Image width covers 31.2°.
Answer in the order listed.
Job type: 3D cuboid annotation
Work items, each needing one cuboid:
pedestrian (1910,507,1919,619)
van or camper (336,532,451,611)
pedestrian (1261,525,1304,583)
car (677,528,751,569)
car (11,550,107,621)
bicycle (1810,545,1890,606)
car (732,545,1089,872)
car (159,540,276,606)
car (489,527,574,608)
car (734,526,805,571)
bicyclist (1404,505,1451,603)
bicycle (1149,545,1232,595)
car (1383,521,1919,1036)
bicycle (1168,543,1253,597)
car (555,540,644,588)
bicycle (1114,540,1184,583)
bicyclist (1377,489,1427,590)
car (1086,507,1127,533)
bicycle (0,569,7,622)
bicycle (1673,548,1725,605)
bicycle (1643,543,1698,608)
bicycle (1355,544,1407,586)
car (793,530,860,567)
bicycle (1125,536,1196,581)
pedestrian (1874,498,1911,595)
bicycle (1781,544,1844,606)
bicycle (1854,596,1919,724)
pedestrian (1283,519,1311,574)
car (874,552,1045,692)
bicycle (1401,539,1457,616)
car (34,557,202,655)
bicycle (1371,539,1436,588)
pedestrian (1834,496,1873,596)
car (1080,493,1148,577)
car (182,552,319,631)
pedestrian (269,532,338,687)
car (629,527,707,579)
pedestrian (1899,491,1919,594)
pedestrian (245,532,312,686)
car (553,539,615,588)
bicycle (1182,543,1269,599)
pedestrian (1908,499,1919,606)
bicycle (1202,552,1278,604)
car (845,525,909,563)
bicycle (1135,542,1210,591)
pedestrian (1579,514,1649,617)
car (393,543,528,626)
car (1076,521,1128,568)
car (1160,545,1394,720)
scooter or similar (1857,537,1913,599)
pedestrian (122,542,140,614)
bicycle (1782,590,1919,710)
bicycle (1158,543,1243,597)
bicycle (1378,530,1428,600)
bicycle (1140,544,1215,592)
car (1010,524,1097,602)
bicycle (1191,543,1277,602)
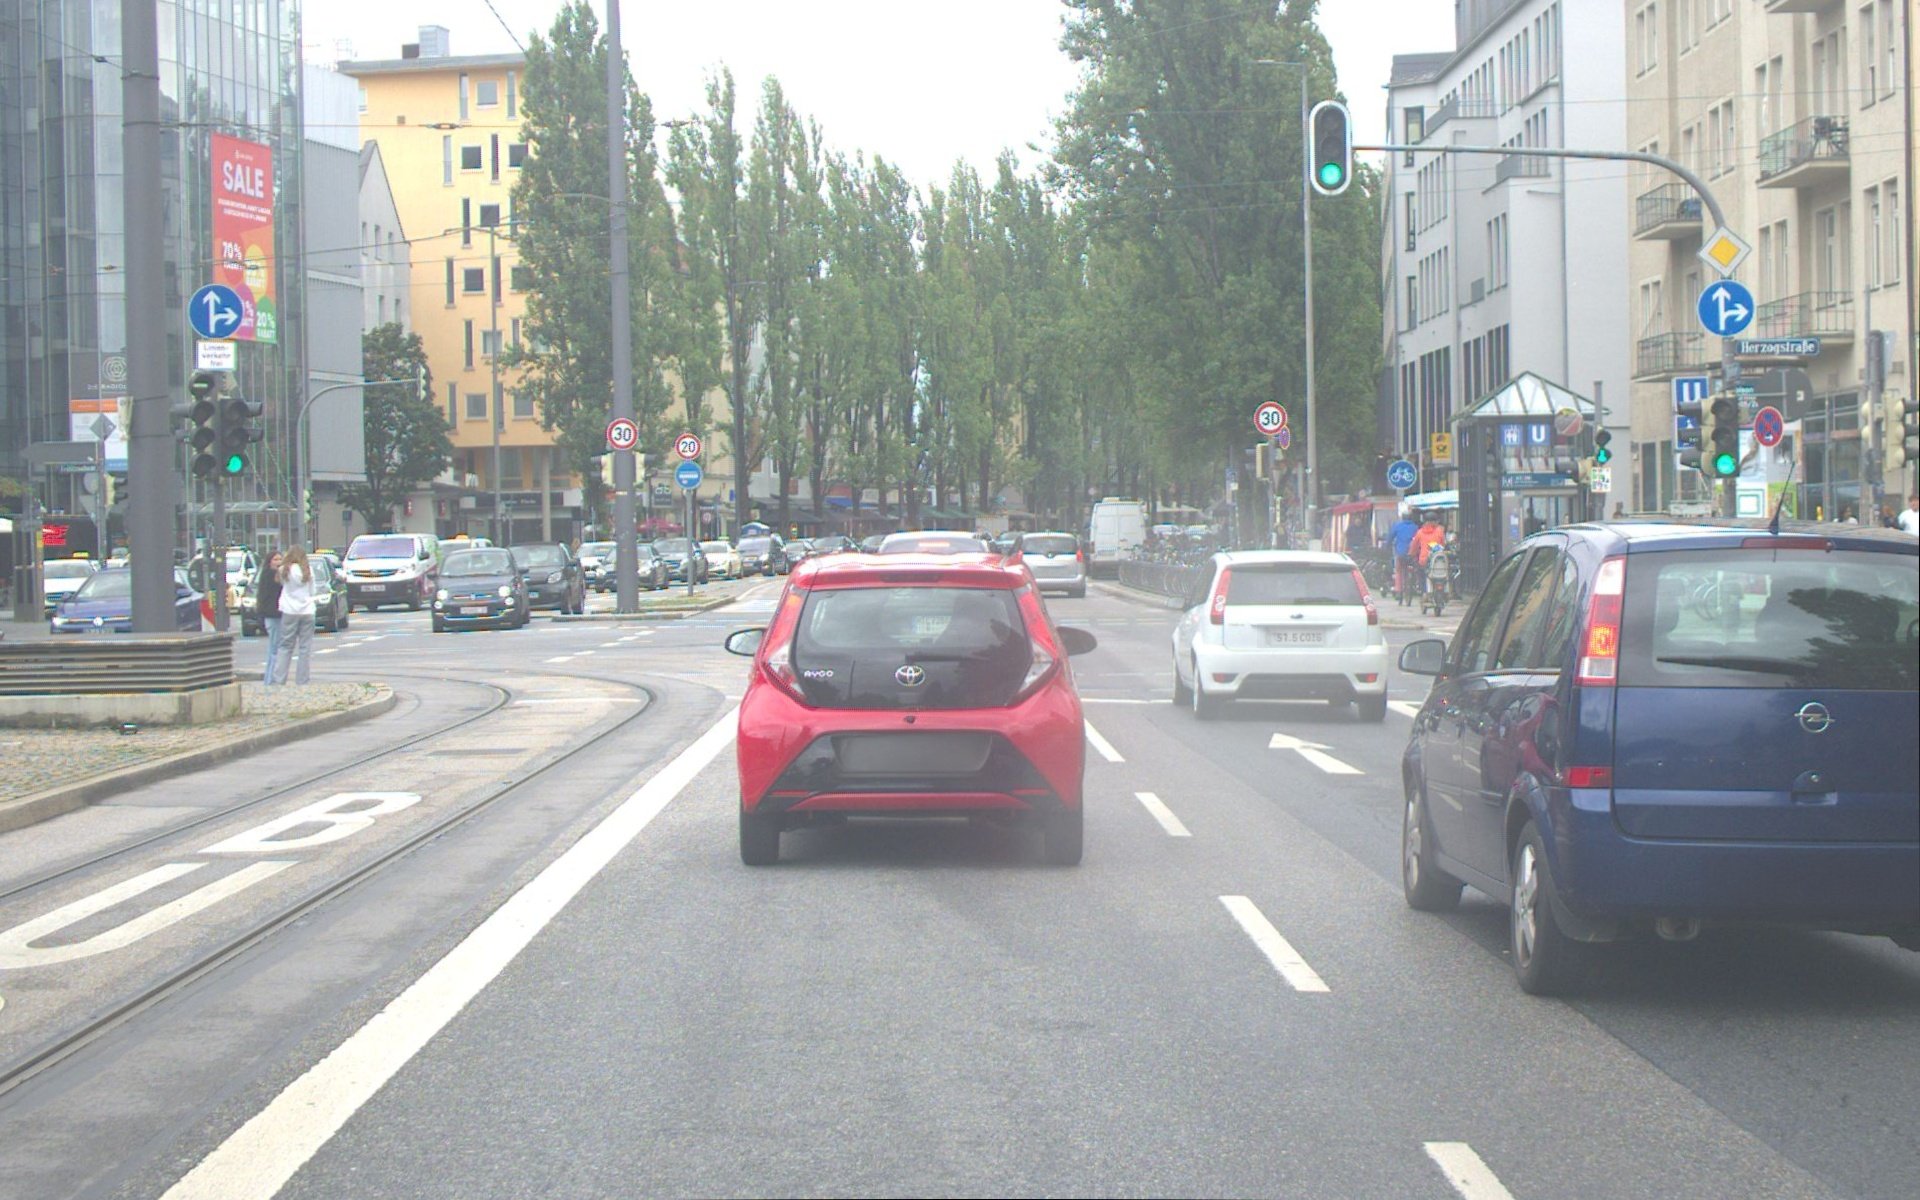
[{"bbox_3d":[15.580,-0.598,54.375,0.934,1.749,1.065,-1,1,9],"label":"pedestrian"},{"bbox_3d":[-13.844,-0.725,84.242,1.928,1.819,5.441,-1,1,-1],"label":"van or camper"},{"bbox_3d":[8.687,-1.235,92.503,0.799,1.517,0.809,0,1,43],"label":"pedestrian"},{"bbox_3d":[-9.017,-1.912,126.221,1.766,1.417,4.638,-2,1,8],"label":"car"},{"bbox_3d":[-21.397,-0.375,81.771,1.993,1.530,4.416,-2,2,-12],"label":"car"},{"bbox_3d":[15.819,-0.444,61.134,0.494,1.055,1.867,-1,1,-15],"label":"bicycle"},{"bbox_3d":[-0.202,0.464,17.040,1.605,1.456,3.130,0,1,1],"label":"car"},{"bbox_3d":[-18.490,-0.695,85.793,1.901,1.537,4.393,-1,1,1],"label":"car"},{"bbox_3d":[-8.496,-0.651,67.974,1.503,1.529,2.838,-1,1,-10],"label":"car"},{"bbox_3d":[-7.528,-2.061,136.417,1.937,1.733,4.587,0,1,8],"label":"car"},{"bbox_3d":[8.024,-0.792,59.054,0.614,1.652,1.251,-1,1,1],"label":"bicyclist"},{"bbox_3d":[5.247,-0.683,78.237,1.803,1.107,0.651,0,2,37],"label":"bicycle"},{"bbox_3d":[2.653,0.539,12.650,1.703,1.584,3.556,2,1,0],"label":"car"},{"bbox_3d":[5.442,-0.644,74.797,1.802,1.154,0.486,0,1,30],"label":"bicycle"},{"bbox_3d":[-11.124,-1.127,106.335,1.994,1.407,4.167,-1,1,4],"label":"car"},{"bbox_3d":[5.041,-1.028,91.678,1.836,1.132,0.585,0,2,36],"label":"bicycle"},{"bbox_3d":[8.333,-1.148,64.876,0.762,1.863,1.133,-1,1,1],"label":"bicyclist"},{"bbox_3d":[9.916,-5.389,232.299,1.994,1.686,4.411,-1,1,13],"label":"car"},{"bbox_3d":[-21.053,-0.096,72.918,1.574,1.108,0.373,-1,1,4],"label":"bicycle"},{"bbox_3d":[13.086,-0.428,60.892,0.494,0.971,1.866,-1,1,0],"label":"bicycle"},{"bbox_3d":[12.585,-0.438,60.913,0.566,1.104,1.866,-1,1,0],"label":"bicycle"},{"bbox_3d":[10.086,-0.844,82.360,1.181,0.960,0.369,-1,1,-1],"label":"bicycle"},{"bbox_3d":[-5.855,-2.284,150.867,1.994,1.529,4.586,-1,1,10],"label":"car"},{"bbox_3d":[5.136,-1.063,87.987,1.836,1.132,0.585,0,2,43],"label":"bicycle"},{"bbox_3d":[15.816,-0.904,58.316,0.561,1.604,0.567,-1,4,13],"label":"pedestrian"},{"bbox_3d":[15.084,-0.448,60.879,0.494,1.055,1.867,-1,1,-5],"label":"bicycle"},{"bbox_3d":[7.875,0.464,26.716,1.841,0.992,0.347,-1,1,45],"label":"bicycle"},{"bbox_3d":[10.740,-1.704,109.490,0.790,1.722,0.764,-1,1,0],"label":"pedestrian"},{"bbox_3d":[-0.025,0.230,42.297,1.993,1.612,4.000,-1,1,-1],"label":"car"},{"bbox_3d":[8.046,-0.394,59.006,0.614,1.260,2.520,-1,1,1],"label":"bicycle"},{"bbox_3d":[-13.065,0.060,53.547,1.677,1.391,4.233,-2,1,-2],"label":"car"},{"bbox_3d":[10.162,-0.834,78.832,1.418,1.073,0.369,-1,1,1],"label":"bicycle"},{"bbox_3d":[15.128,-0.913,58.203,0.566,1.665,0.562,0,5,22],"label":"pedestrian"},{"bbox_3d":[5.184,-2.197,116.221,2.107,2.709,4.804,-1,1,1],"label":"car"},{"bbox_3d":[-13.522,-0.180,65.698,1.843,1.412,4.035,-1,1,-1],"label":"car"},{"bbox_3d":[-6.921,0.095,36.252,0.521,1.613,0.463,0,1,44],"label":"pedestrian"},{"bbox_3d":[-9.908,-1.603,116.922,1.743,1.664,4.731,-1,1,6],"label":"car"},{"bbox_3d":[16.375,-0.977,58.072,0.644,1.699,0.733,-4,5,-29],"label":"pedestrian"},{"bbox_3d":[-7.237,0.086,36.507,0.486,1.613,0.558,-2,1,-34],"label":"pedestrian"},{"bbox_3d":[-12.955,-1.271,118.518,1.698,1.590,4.000,-1,1,-1],"label":"car"},{"bbox_3d":[5.563,-0.606,71.988,1.803,1.154,0.547,0,2,38],"label":"bicycle"},{"bbox_3d":[16.139,-0.798,57.128,0.649,1.745,0.636,0,5,22],"label":"pedestrian"},{"bbox_3d":[5.627,-0.448,69.081,0.498,1.025,1.601,-2,2,-42],"label":"bicycle"},{"bbox_3d":[-3.857,-2.624,160.965,1.994,1.686,4.919,-1,1,10],"label":"car"},{"bbox_3d":[5.128,-0.814,83.069,1.836,1.164,0.585,0,2,43],"label":"bicycle"},{"bbox_3d":[10.865,-0.572,57.123,0.836,1.685,0.818,0,1,37],"label":"pedestrian"},{"bbox_3d":[-9.148,-0.297,62.828,1.545,1.440,3.540,-2,1,-23],"label":"car"},{"bbox_3d":[5.050,-1.989,122.447,1.703,1.657,3.556,-1,1,0],"label":"car"},{"bbox_3d":[2.760,0.245,30.568,1.699,1.421,3.497,-1,1,-1],"label":"car"},{"bbox_3d":[15.442,-0.535,57.379,0.821,0.991,0.593,0,5,22],"label":"scooter or similar"},{"bbox_3d":[-20.282,-0.543,84.122,0.354,1.753,0.447,-1,1,-11],"label":"pedestrian"},{"bbox_3d":[7.820,0.419,28.872,1.841,0.992,0.347,-1,1,45],"label":"bicycle"},{"bbox_3d":[5.330,-0.663,76.175,1.803,1.154,0.651,0,2,36],"label":"bicycle"},{"bbox_3d":[8.330,-0.672,64.722,0.614,1.260,2.520,-1,1,1],"label":"bicycle"},{"bbox_3d":[5.169,-0.756,81.741,1.803,1.107,0.585,0,2,43],"label":"bicycle"},{"bbox_3d":[2.274,-0.932,84.574,1.993,1.831,4.000,-1,1,0],"label":"car"},{"bbox_3d":[5.626,-0.564,70.595,1.803,1.194,0.558,0,2,44],"label":"bicycle"}]
